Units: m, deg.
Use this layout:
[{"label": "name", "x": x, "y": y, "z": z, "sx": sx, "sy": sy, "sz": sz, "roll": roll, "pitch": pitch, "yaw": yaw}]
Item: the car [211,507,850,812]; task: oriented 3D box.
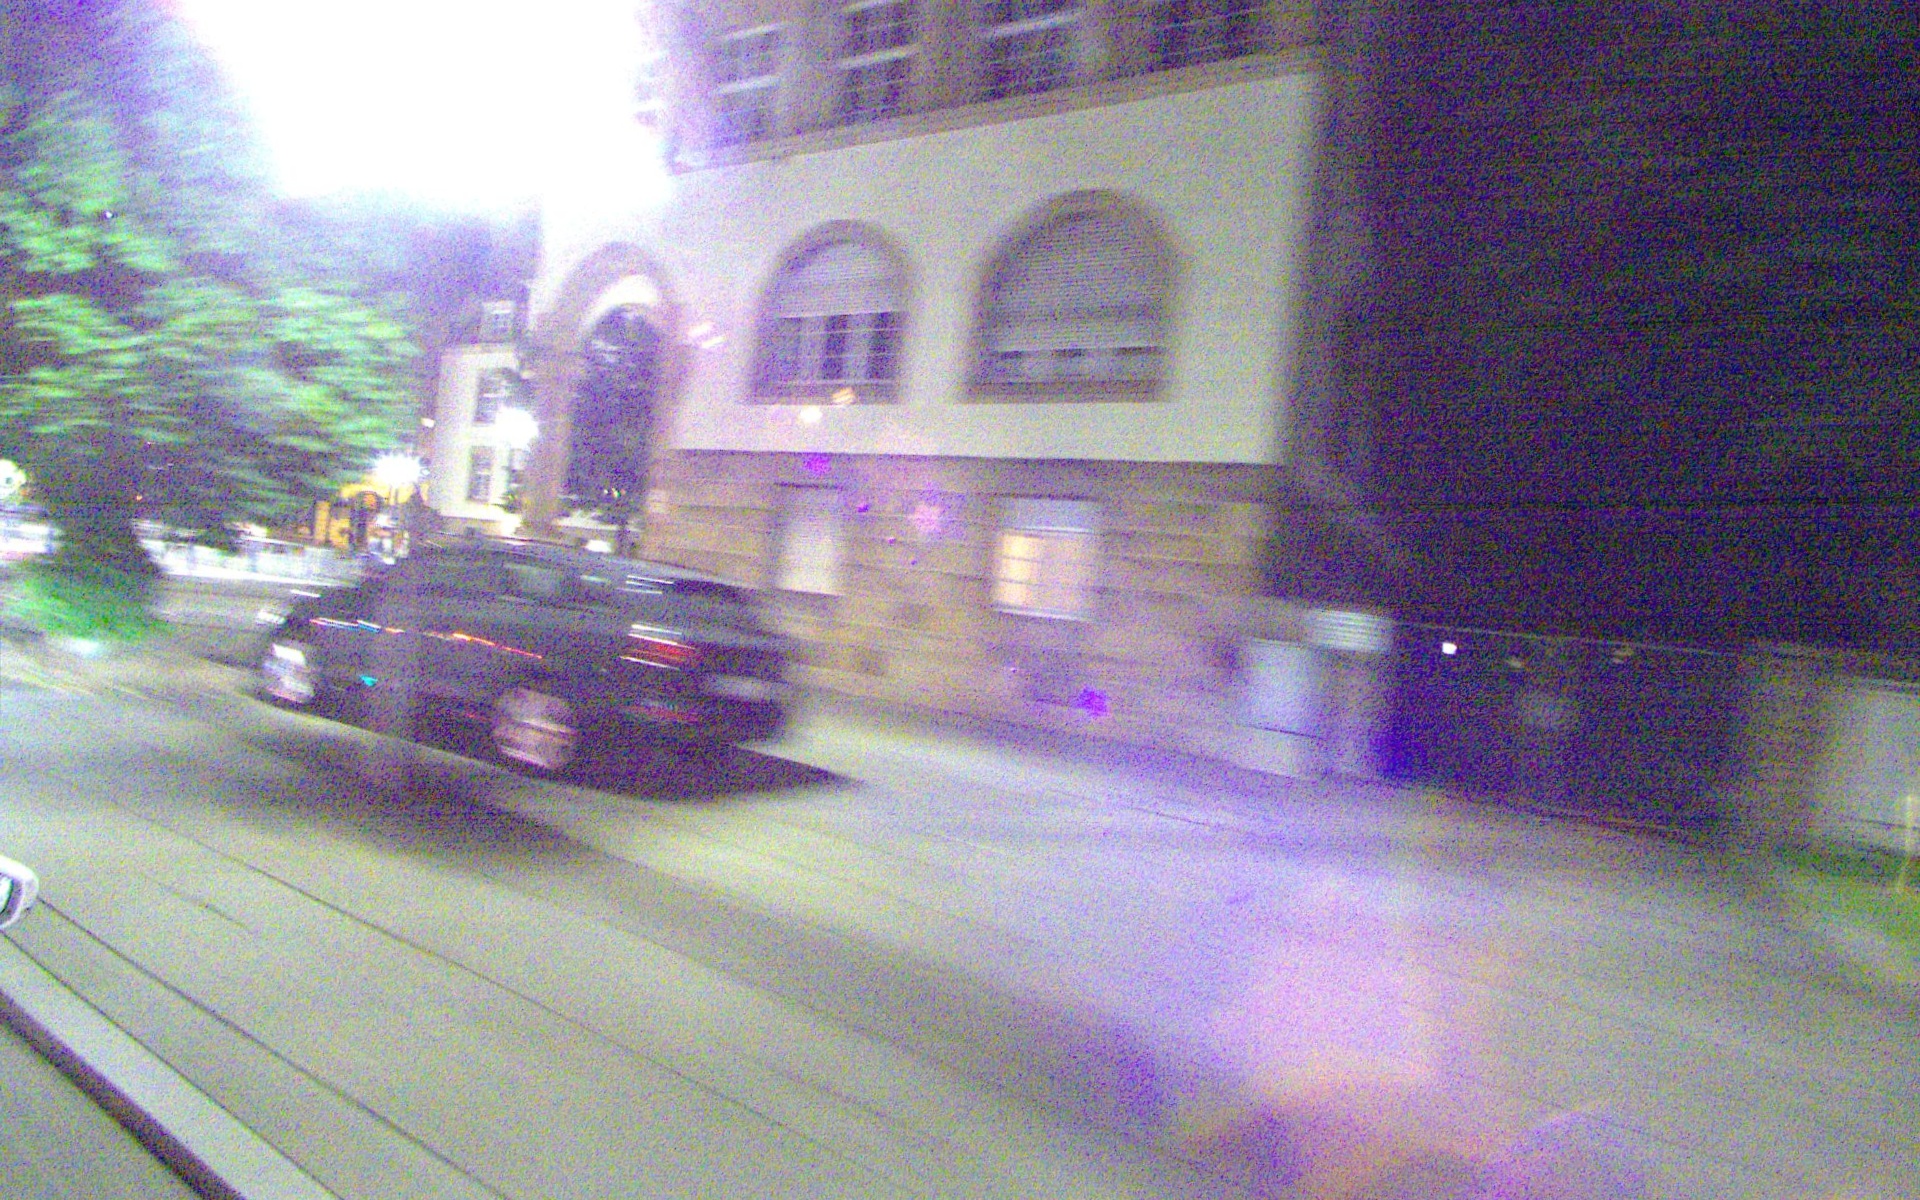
[{"label": "car", "x": -3.316, "y": 0.303, "z": 7.549, "sx": 4.645, "sy": 1.477, "sz": 1.738, "roll": 6, "pitch": -1, "yaw": 27}]
